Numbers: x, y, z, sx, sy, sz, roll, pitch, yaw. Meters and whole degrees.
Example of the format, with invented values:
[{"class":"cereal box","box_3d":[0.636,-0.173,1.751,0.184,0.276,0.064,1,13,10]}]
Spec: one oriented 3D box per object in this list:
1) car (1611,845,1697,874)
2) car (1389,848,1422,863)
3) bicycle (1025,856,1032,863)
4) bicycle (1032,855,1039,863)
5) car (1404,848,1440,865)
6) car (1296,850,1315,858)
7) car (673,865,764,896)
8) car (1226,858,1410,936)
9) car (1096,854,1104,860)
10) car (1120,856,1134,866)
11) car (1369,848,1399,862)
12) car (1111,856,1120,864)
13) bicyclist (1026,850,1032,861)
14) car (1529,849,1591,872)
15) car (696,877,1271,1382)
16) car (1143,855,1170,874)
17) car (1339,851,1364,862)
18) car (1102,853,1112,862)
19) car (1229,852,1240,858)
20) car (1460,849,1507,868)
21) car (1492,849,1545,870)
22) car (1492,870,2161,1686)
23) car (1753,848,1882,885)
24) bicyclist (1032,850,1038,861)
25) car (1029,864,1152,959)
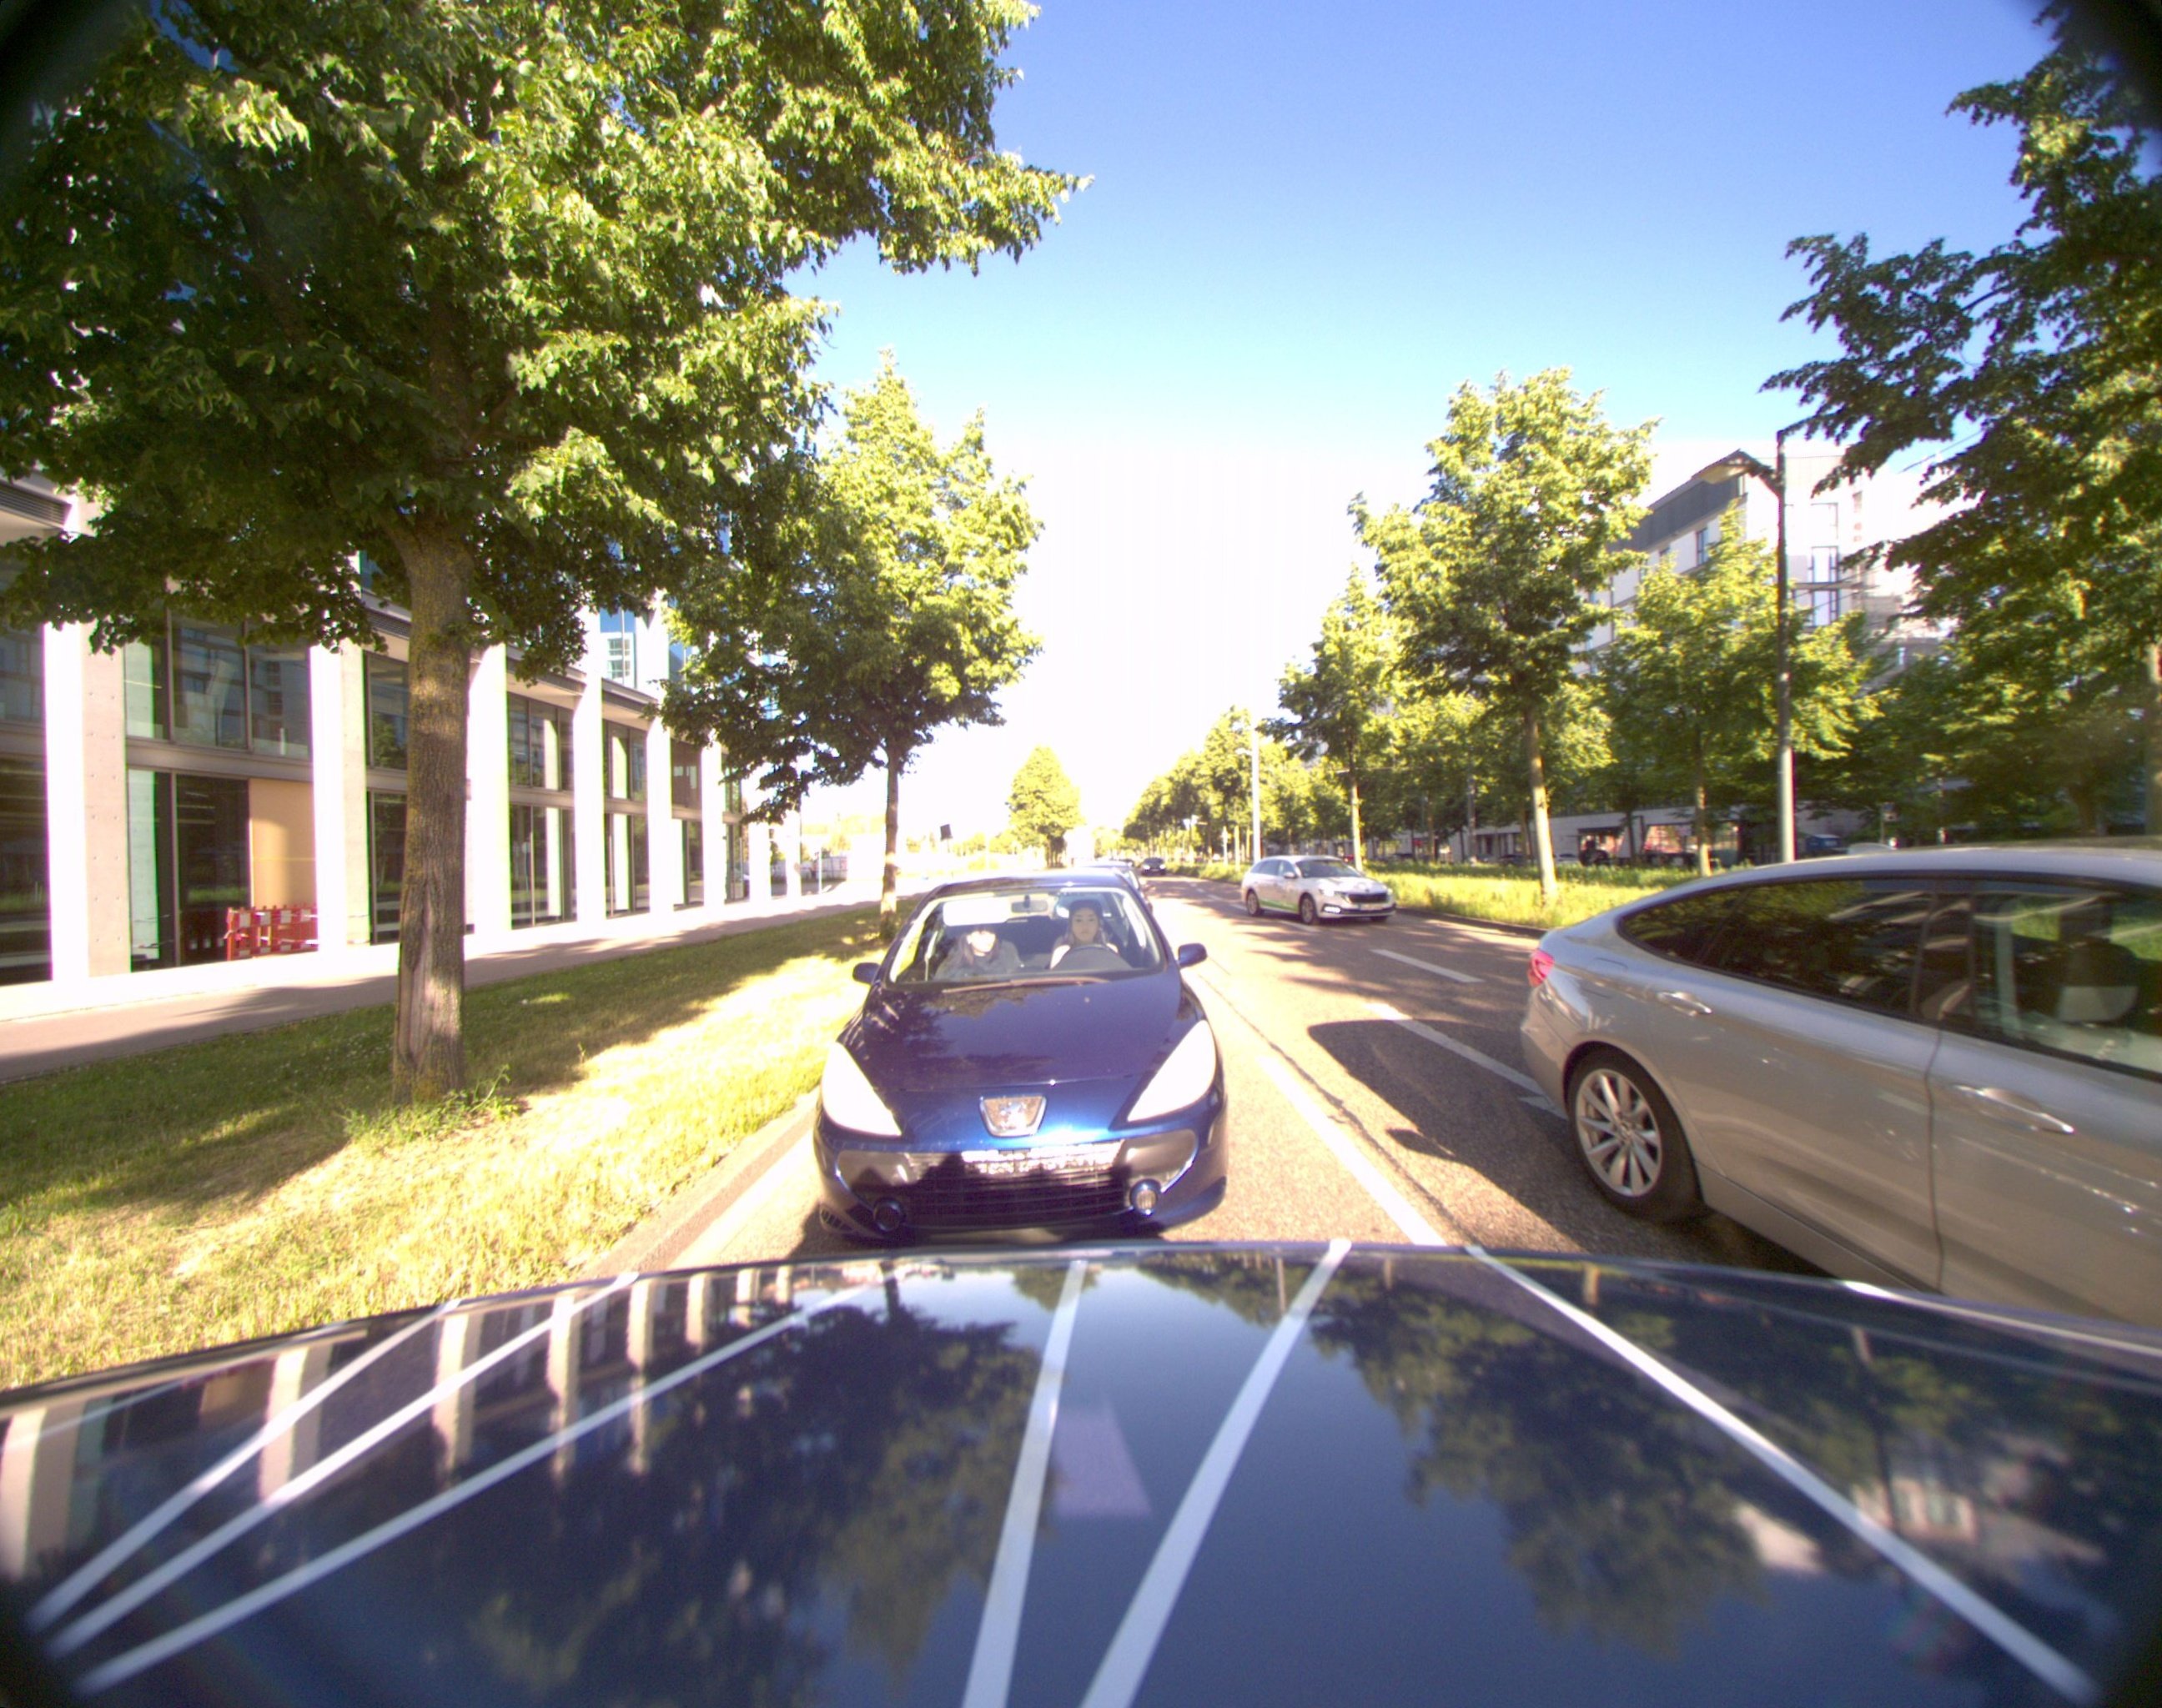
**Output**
[{"class":"car","box_3d":[33.820,0.330,44.968,1.951,1.588,4.184,-1,0,1]},{"class":"car","box_3d":[35.433,0.194,83.100,1.884,1.588,4.184,-1,0,1]},{"class":"bicycle","box_3d":[-9.726,1.035,141.657,0.931,1.355,4.000,-1,0,1]},{"class":"bicycle","box_3d":[-8.546,0.957,141.965,0.931,1.355,4.000,-1,0,1]},{"class":"car","box_3d":[35.021,0.264,78.192,1.884,1.588,4.184,-1,0,1]},{"class":"car","box_3d":[36.596,0.006,124.150,1.998,1.387,4.000,-1,0,1]},{"class":"car","box_3d":[-20.049,1.433,42.143,3.996,1.569,2.000,-1,0,3]},{"class":"car","box_3d":[5.049,0.838,16.954,1.806,1.439,4.563,-1,0,-14]},{"class":"car","box_3d":[4.969,0.742,197.135,1.878,1.561,4.344,-1,0,2]},{"class":"car","box_3d":[6.802,0.996,112.523,1.878,1.415,4.344,-1,0,2]},{"class":"car","box_3d":[35.490,0.137,89.021,1.884,1.588,4.184,-1,0,1]},{"class":"car","box_3d":[7.933,1.391,174.890,1.878,1.577,4.344,-1,0,2]},{"class":"bicyclist","box_3d":[-9.735,0.275,141.668,0.931,2.045,1.121,-1,1,1]},{"class":"car","box_3d":[34.892,0.474,55.506,1.884,1.588,4.184,-1,0,1]},{"class":"car","box_3d":[-0.290,0.978,4.733,1.846,1.473,4.481,-2,0,1]},{"class":"car","box_3d":[6.214,0.820,63.035,1.861,1.482,4.000,-1,0,1]},{"class":"car","box_3d":[35.982,0.347,101.004,1.998,1.387,4.000,-1,0,2]},{"class":"car","box_3d":[4.721,0.621,137.481,1.724,1.516,4.000,-1,0,1]},{"class":"car","box_3d":[36.100,0.263,179.229,1.998,1.387,4.001,-1,0,4]},{"class":"car","box_3d":[35.146,0.361,66.510,1.884,1.588,4.184,-1,0,1]},{"class":"car","box_3d":[35.179,0.406,61.228,1.884,1.588,4.184,-1,0,1]},{"class":"car","box_3d":[2.974,0.842,1.512,1.824,1.476,4.561,-1,0,0]},{"class":"car","box_3d":[34.079,0.538,35.348,1.951,1.588,4.184,-1,0,1]},{"class":"bicyclist","box_3d":[-8.567,0.199,141.869,0.931,2.045,1.121,-1,1,1]},{"class":"car","box_3d":[0.179,0.979,14.839,1.998,1.437,4.622,-1,0,1]}]
